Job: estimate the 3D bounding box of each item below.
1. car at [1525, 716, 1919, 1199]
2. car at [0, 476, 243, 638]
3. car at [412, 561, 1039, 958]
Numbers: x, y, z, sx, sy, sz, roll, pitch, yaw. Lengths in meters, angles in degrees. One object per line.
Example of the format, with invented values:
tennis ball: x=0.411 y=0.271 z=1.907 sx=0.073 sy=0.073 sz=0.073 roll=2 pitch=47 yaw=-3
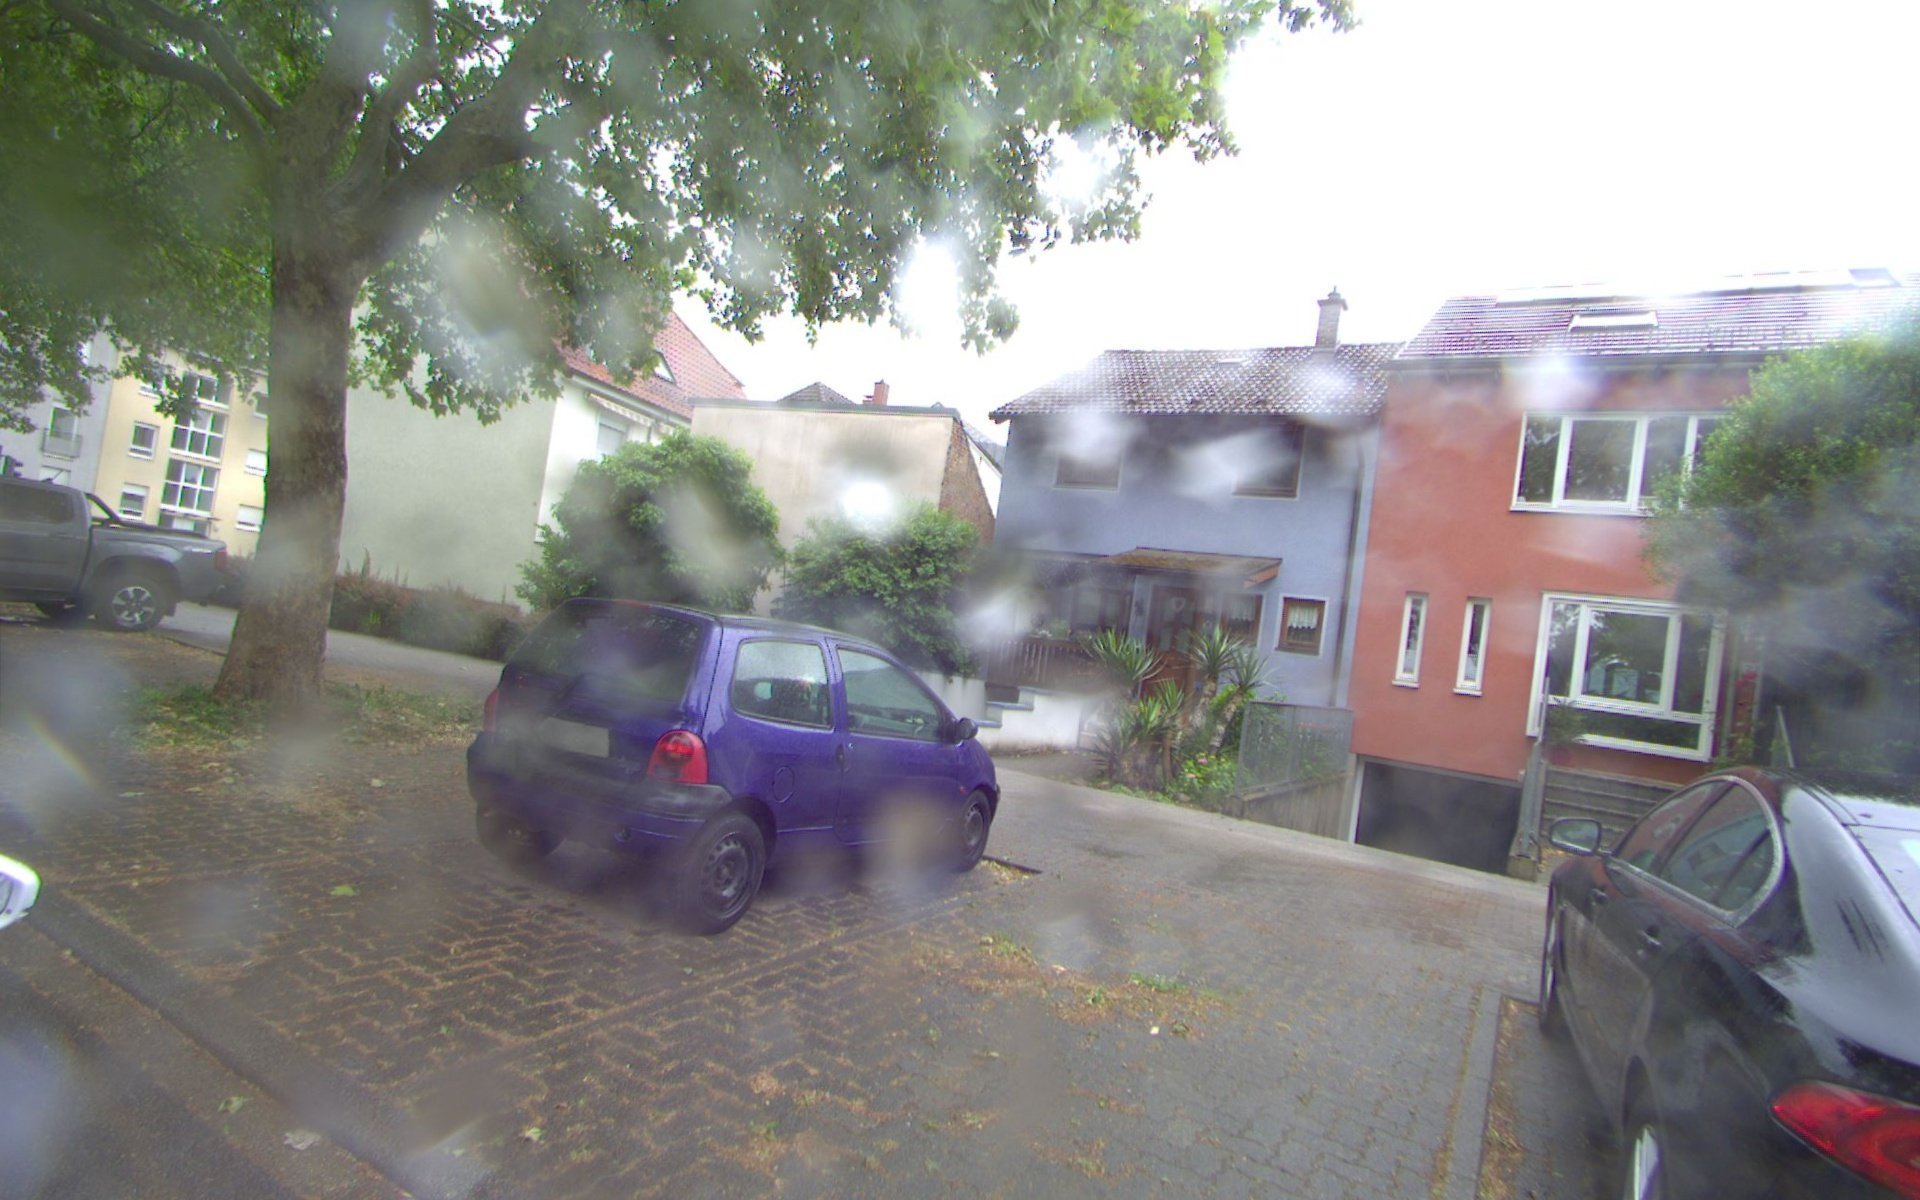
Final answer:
car: x=2.979 y=1.259 z=2.985 sx=1.904 sy=1.490 sz=4.780 roll=7 pitch=-2 yaw=27
car: x=-12.357 y=-0.670 z=12.442 sx=1.812 sy=1.828 sz=5.355 roll=7 pitch=-1 yaw=25
car: x=-1.051 y=0.811 z=5.932 sx=1.591 sy=1.480 sz=3.364 roll=7 pitch=-2 yaw=30
